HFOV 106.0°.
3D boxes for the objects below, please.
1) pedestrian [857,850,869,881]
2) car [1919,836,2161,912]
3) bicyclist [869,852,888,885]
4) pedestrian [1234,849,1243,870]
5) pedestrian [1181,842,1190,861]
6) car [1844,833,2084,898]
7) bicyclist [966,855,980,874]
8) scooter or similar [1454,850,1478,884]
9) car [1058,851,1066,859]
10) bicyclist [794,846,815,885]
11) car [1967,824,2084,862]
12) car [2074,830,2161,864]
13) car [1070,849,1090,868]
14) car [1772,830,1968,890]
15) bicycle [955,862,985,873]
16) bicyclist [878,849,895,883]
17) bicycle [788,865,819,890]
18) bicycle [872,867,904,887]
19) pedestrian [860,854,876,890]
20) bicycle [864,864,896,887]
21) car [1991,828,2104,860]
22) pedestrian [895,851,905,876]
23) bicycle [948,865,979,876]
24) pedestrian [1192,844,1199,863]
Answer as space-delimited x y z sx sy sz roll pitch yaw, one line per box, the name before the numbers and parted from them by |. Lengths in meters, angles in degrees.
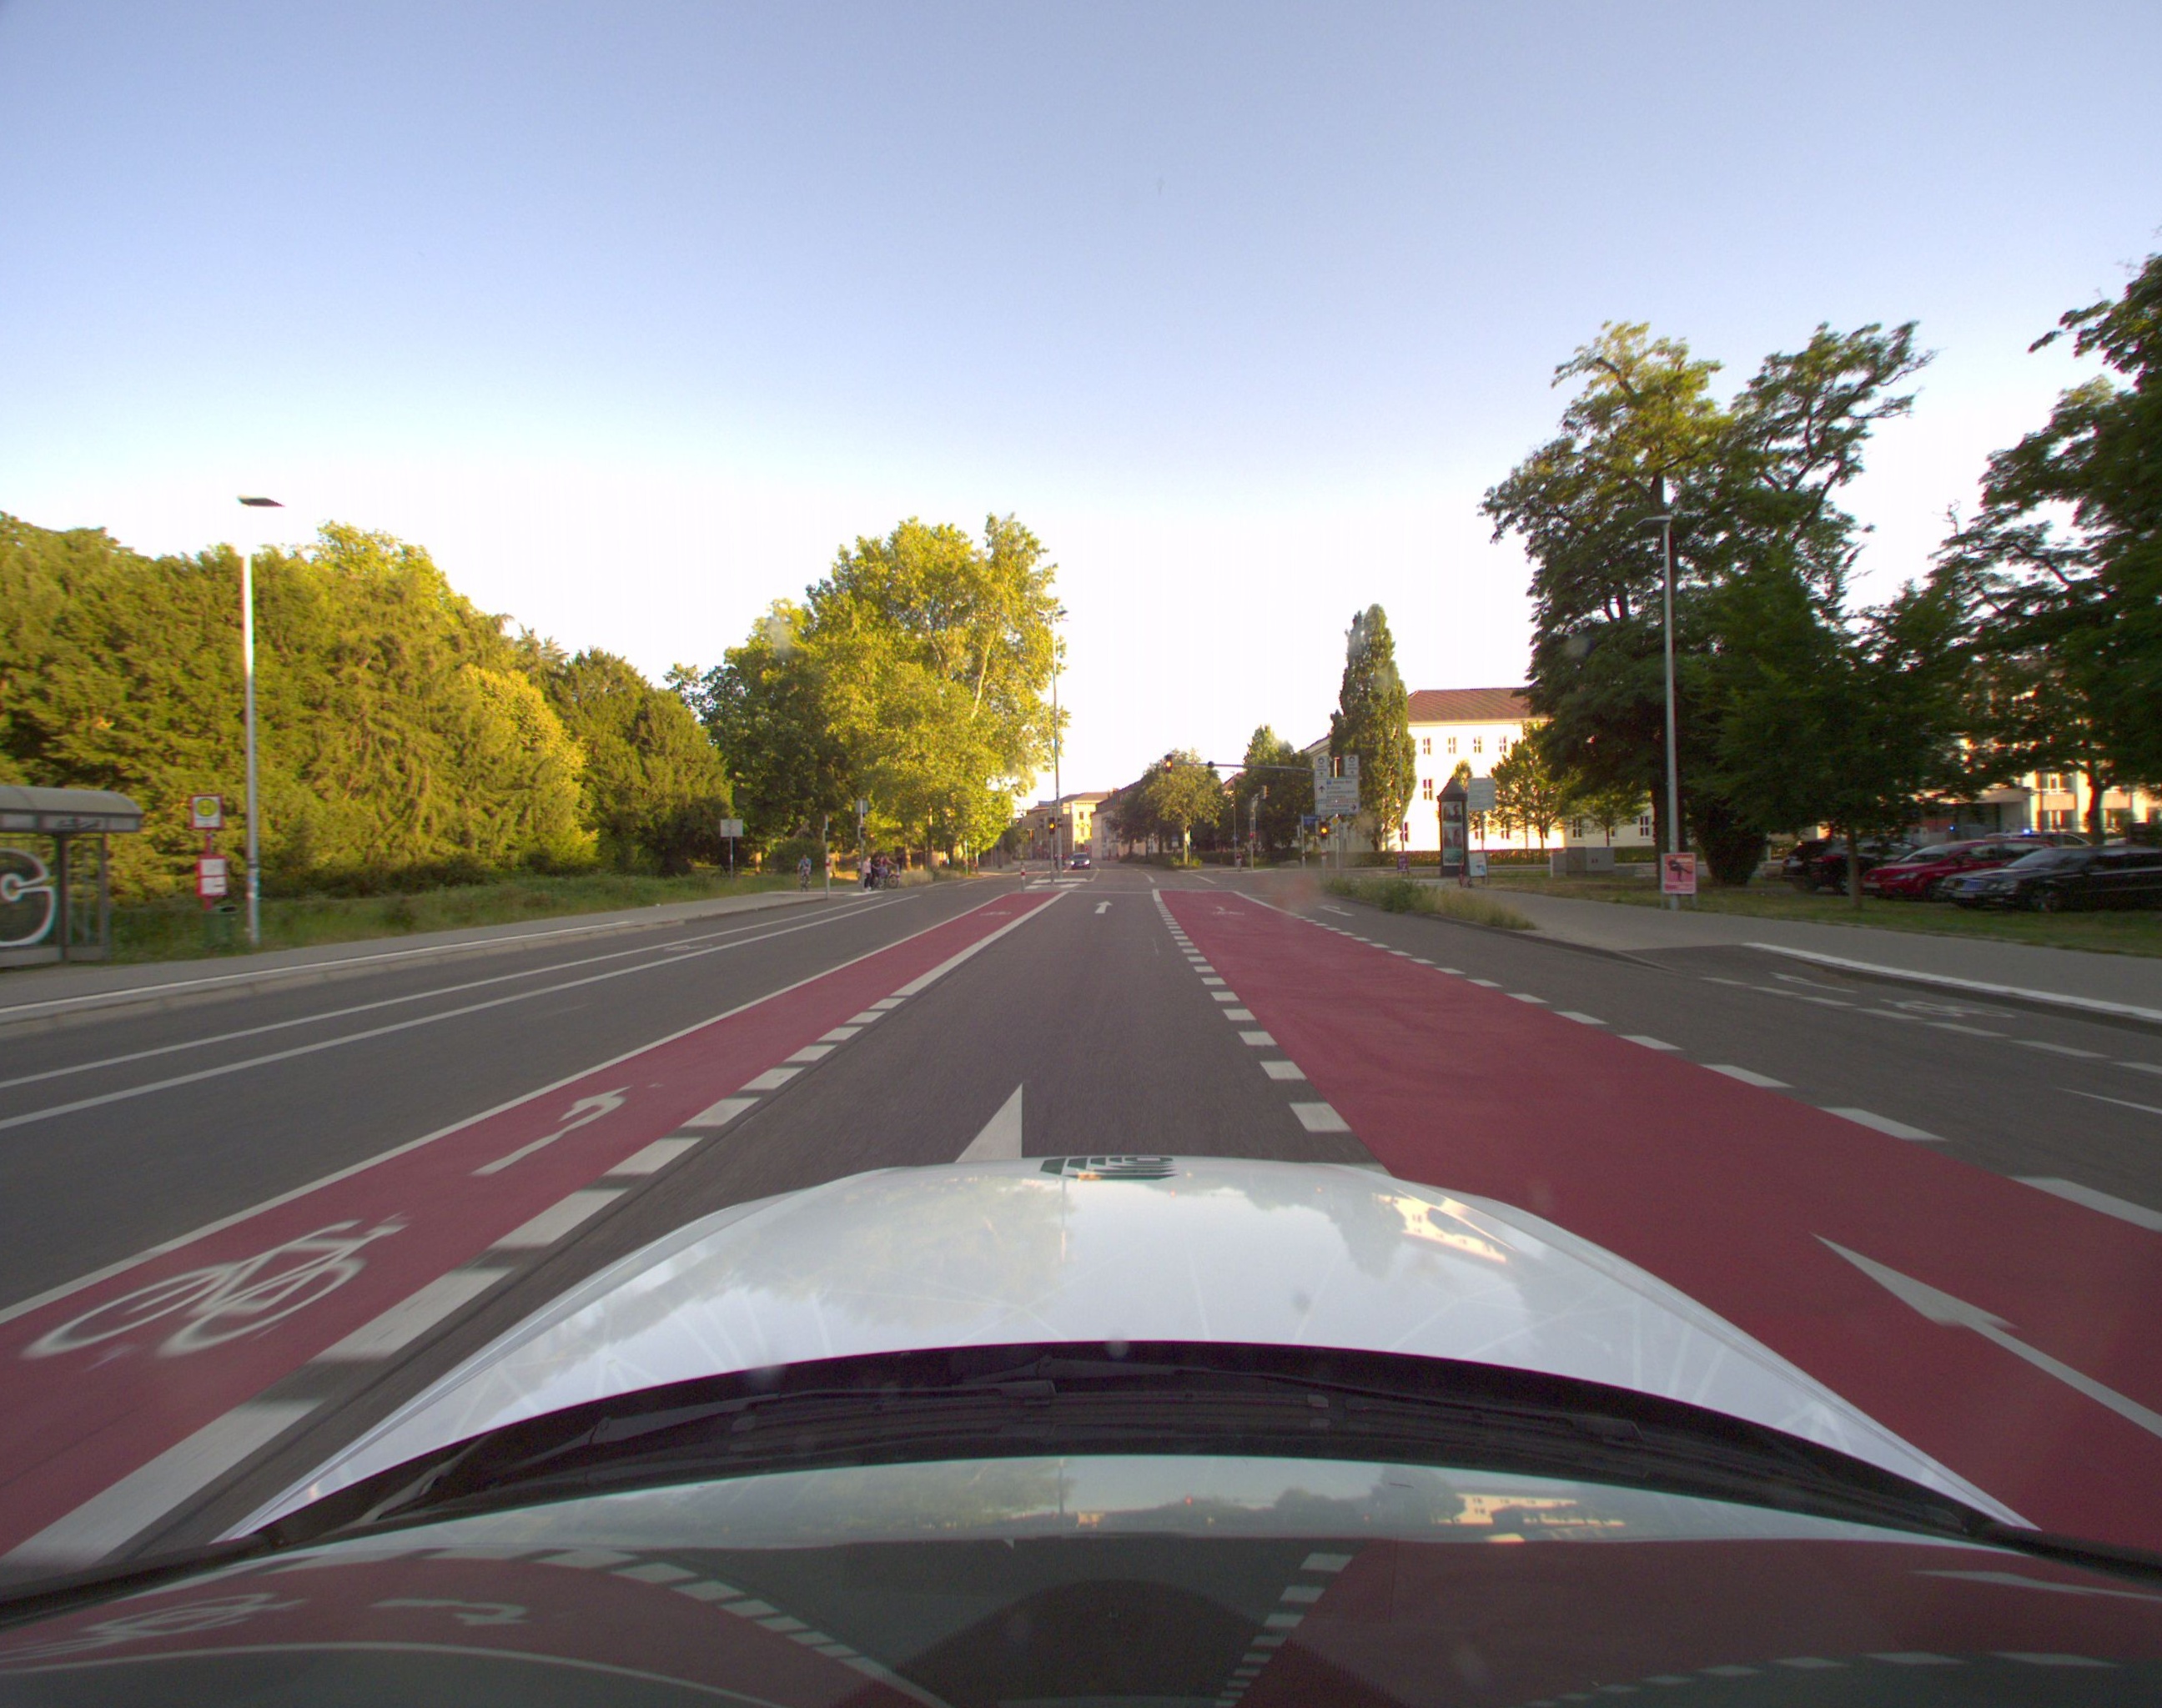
pedestrian | -14.315 0.736 53.472 0.653 2.013 0.599 0 0 -35
car | 22.022 0.424 18.093 4.546 1.449 1.903 -3 -2 5
bicyclist | -10.209 0.727 41.144 0.631 1.649 0.634 -1 0 34
pedestrian | 12.446 0.435 64.340 0.598 1.636 0.691 0 0 -1
pedestrian | 11.141 -0.288 86.542 0.866 2.013 0.723 0 0 3
car | 22.794 0.294 21.182 3.962 1.561 1.790 -1 0 9
bicyclist | -9.211 0.874 69.511 0.954 1.631 0.753 -1 0 4
scooter or similar | 14.227 0.482 30.102 0.309 1.231 1.312 -1 0 3
car | -4.536 0.226 193.464 1.814 1.589 3.999 -2 0 0
bicyclist | -13.271 0.556 39.122 0.733 1.824 0.711 1 0 -2
car | 50.569 -0.572 43.685 3.964 2.013 1.744 0 0 8
car | 55.445 -0.349 42.853 3.966 1.761 1.751 0 0 7
car | -0.043 0.473 80.126 1.843 1.720 4.296 -3 0 1
car | 23.302 0.178 24.196 3.876 1.694 1.840 0 0 7
bicycle | -9.489 1.168 69.528 2.419 0.924 0.776 -1 0 4
bicyclist | -10.214 0.630 42.830 0.631 1.780 0.580 -1 0 34
bicycle | -13.267 1.120 38.986 0.768 1.100 2.120 -1 0 -2
bicycle | -10.132 1.215 42.782 1.749 1.030 0.583 -1 0 34
pedestrian | -10.199 0.878 38.977 0.604 1.695 0.499 -1 0 4
bicycle | -10.151 1.088 41.108 1.548 1.111 0.637 -1 0 34
car | 54.013 -0.532 45.594 3.966 1.761 1.751 0 0 7
pedestrian | -15.084 0.774 67.859 0.637 2.013 0.702 -1 0 5
bicycle | -9.850 1.380 68.382 2.419 0.924 0.776 -1 0 4
pedestrian | 12.254 -0.033 87.194 0.633 2.013 0.720 0 0 0
